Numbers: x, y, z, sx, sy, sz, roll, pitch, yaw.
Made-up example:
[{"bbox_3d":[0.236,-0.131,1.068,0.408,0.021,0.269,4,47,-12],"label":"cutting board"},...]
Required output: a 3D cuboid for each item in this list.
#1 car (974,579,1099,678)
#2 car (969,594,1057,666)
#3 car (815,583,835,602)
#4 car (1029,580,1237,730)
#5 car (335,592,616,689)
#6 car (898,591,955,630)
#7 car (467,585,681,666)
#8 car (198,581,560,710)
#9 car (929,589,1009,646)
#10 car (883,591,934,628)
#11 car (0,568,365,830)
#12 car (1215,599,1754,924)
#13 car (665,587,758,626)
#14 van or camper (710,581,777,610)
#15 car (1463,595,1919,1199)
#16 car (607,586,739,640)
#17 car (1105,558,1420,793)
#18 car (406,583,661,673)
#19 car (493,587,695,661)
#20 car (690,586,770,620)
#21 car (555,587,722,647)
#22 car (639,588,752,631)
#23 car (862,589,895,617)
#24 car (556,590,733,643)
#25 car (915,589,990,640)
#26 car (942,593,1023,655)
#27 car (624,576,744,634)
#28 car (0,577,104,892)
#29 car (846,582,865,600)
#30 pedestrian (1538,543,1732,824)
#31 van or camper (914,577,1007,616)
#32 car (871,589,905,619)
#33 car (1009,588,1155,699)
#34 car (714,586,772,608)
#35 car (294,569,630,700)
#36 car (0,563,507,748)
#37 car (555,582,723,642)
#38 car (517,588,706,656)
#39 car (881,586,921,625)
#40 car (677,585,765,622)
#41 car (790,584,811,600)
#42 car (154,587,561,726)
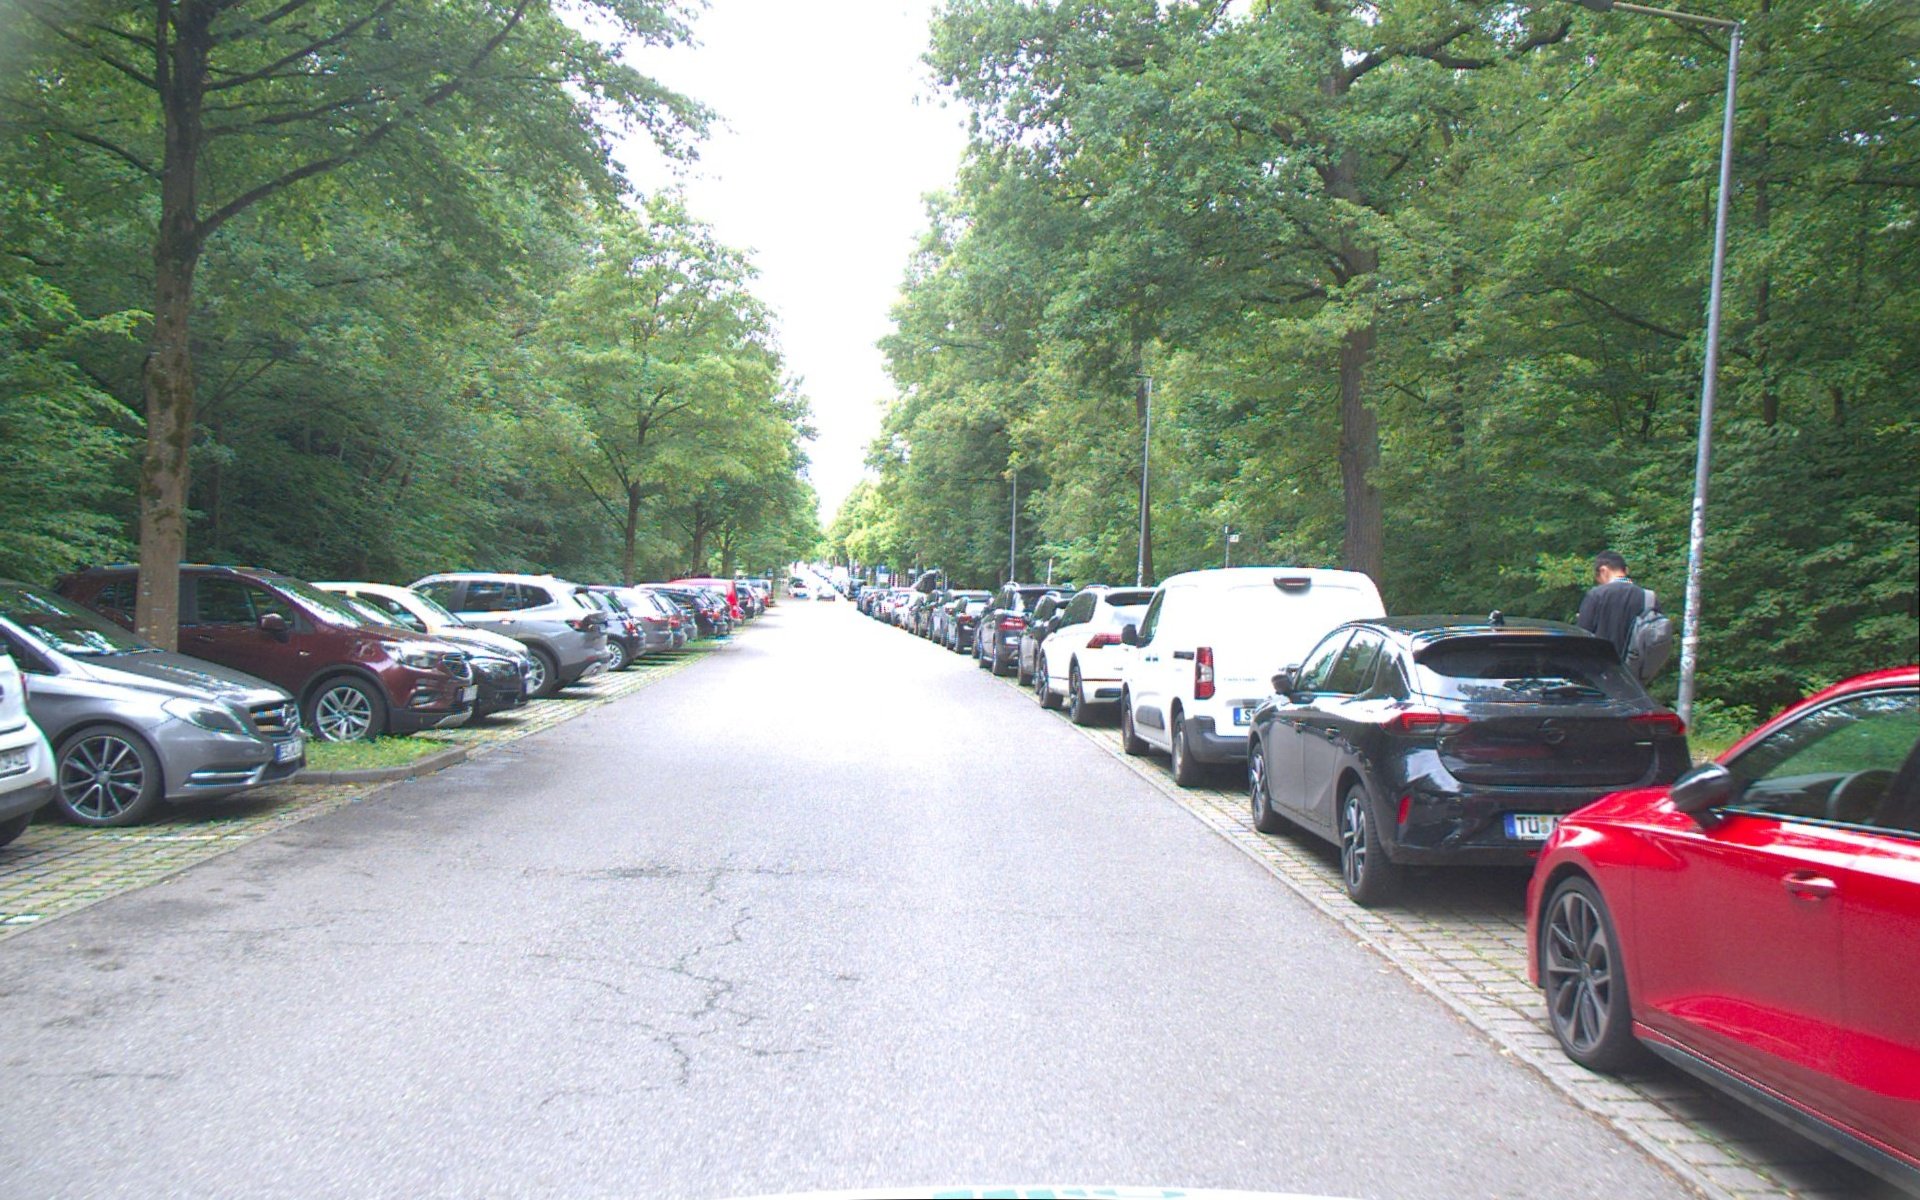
[{"bbox_3d":[1.431,0.502,32.993,1.853,1.777,4.943,1,0,-5],"label":"car"},{"bbox_3d":[1.182,0.652,38.567,1.567,1.530,4.086,1,0,-5],"label":"car"},{"bbox_3d":[-12.072,-0.674,147.631,1.658,1.440,3.151,2,3,-6],"label":"car"},{"bbox_3d":[2.106,0.615,21.435,1.751,1.691,4.712,1,0,-6],"label":"car"},{"bbox_3d":[-7.471,0.615,25.843,3.903,1.333,1.808,2,1,-7],"label":"car"},{"bbox_3d":[-1.386,0.403,66.854,1.900,1.501,3.987,1,0,-6],"label":"car"},{"bbox_3d":[-7.761,0.504,33.601,4.012,1.550,1.926,1,0,-8],"label":"car"},{"bbox_3d":[-7.297,0.554,21.078,3.942,1.490,1.798,1,0,-2],"label":"car"},{"bbox_3d":[0.217,0.475,49.409,1.940,1.564,4.616,1,0,-5],"label":"car"},{"bbox_3d":[-2.291,0.397,72.703,1.690,1.520,3.765,1,0,-10],"label":"car"},{"bbox_3d":[-6.283,0.586,11.007,3.955,1.582,1.918,1,0,-5],"label":"car"},{"bbox_3d":[2.784,0.758,9.856,1.691,1.447,4.282,1,0,-2],"label":"car"},{"bbox_3d":[-10.590,0.262,70.662,3.757,1.563,1.869,1,0,-4],"label":"car"},{"bbox_3d":[-15.541,-0.324,118.716,4.407,1.900,1.909,1,3,-20],"label":"van or camper"},{"bbox_3d":[3.135,0.775,4.305,1.953,1.505,4.969,1,0,-2],"label":"car"},{"bbox_3d":[-8.817,0.394,50.984,3.913,1.557,1.996,1,0,-9],"label":"car"},{"bbox_3d":[2.578,0.576,15.246,1.710,1.811,4.548,1,0,-5],"label":"car"},{"bbox_3d":[-7.940,0.507,31.088,4.313,1.514,1.836,2,0,-3],"label":"car"},{"bbox_3d":[-7.876,0.510,35.942,4.030,1.506,1.994,1,0,-6],"label":"car"},{"bbox_3d":[-11.845,0.129,85.347,3.908,1.669,2.007,1,0,-4],"label":"car"},{"bbox_3d":[-8.408,0.431,43.484,4.217,1.474,1.753,1,0,-10],"label":"car"},{"bbox_3d":[-9.693,0.331,60.776,3.909,1.500,2.113,1,0,-5],"label":"car"},{"bbox_3d":[-4.849,0.161,97.910,1.883,1.547,3.884,1,0,-4],"label":"car"},{"bbox_3d":[-8.671,0.446,45.818,4.640,1.367,1.985,1,0,-6],"label":"car"},{"bbox_3d":[-0.283,0.456,55.019,1.941,1.564,4.159,1,0,-8],"label":"car"},{"bbox_3d":[0.548,0.588,43.569,1.605,1.503,4.145,1,0,-7],"label":"car"},{"bbox_3d":[-9.291,0.165,55.948,3.912,1.848,2.111,1,0,-8],"label":"car"},{"bbox_3d":[-6.908,0.634,8.360,4.155,1.577,1.844,1,0,-8],"label":"car"},{"bbox_3d":[-9.677,-0.863,152.541,1.597,1.440,3.408,2,3,-6],"label":"car"},{"bbox_3d":[4.437,0.526,10.937,0.801,1.756,1.003,2,0,-3],"label":"pedestrian"},{"bbox_3d":[0.038,-0.311,138.765,7.214,2.938,2.635,1,3,-20],"label":"van or camper"},{"bbox_3d":[-3.964,0.197,90.748,1.677,1.535,3.996,1,0,-5],"label":"car"},{"bbox_3d":[1.917,0.645,27.291,1.717,1.635,4.442,1,0,-5],"label":"car"},{"bbox_3d":[-14.156,-0.184,107.952,3.521,1.385,1.819,1,0,-18],"label":"car"},{"bbox_3d":[-6.940,0.464,23.441,4.141,1.661,2.028,2,0,-3],"label":"car"},{"bbox_3d":[-6.853,0.502,15.989,4.425,1.612,1.925,1,0,-4],"label":"car"},{"bbox_3d":[-9.356,0.339,48.470,4.640,1.623,1.957,1,0,-6],"label":"car"},{"bbox_3d":[-8.057,0.493,38.524,4.027,1.456,1.963,1,0,-3],"label":"car"},{"bbox_3d":[-2.811,0.260,78.625,1.677,1.758,3.996,1,0,-5],"label":"car"},{"bbox_3d":[-11.238,0.162,77.956,3.908,1.669,1.733,1,0,-4],"label":"car"},{"bbox_3d":[-14.422,-0.694,149.503,1.704,1.182,3.410,2,3,-3],"label":"car"},{"bbox_3d":[-6.649,0.610,18.606,3.909,1.388,1.785,2,0,-5],"label":"car"}]
